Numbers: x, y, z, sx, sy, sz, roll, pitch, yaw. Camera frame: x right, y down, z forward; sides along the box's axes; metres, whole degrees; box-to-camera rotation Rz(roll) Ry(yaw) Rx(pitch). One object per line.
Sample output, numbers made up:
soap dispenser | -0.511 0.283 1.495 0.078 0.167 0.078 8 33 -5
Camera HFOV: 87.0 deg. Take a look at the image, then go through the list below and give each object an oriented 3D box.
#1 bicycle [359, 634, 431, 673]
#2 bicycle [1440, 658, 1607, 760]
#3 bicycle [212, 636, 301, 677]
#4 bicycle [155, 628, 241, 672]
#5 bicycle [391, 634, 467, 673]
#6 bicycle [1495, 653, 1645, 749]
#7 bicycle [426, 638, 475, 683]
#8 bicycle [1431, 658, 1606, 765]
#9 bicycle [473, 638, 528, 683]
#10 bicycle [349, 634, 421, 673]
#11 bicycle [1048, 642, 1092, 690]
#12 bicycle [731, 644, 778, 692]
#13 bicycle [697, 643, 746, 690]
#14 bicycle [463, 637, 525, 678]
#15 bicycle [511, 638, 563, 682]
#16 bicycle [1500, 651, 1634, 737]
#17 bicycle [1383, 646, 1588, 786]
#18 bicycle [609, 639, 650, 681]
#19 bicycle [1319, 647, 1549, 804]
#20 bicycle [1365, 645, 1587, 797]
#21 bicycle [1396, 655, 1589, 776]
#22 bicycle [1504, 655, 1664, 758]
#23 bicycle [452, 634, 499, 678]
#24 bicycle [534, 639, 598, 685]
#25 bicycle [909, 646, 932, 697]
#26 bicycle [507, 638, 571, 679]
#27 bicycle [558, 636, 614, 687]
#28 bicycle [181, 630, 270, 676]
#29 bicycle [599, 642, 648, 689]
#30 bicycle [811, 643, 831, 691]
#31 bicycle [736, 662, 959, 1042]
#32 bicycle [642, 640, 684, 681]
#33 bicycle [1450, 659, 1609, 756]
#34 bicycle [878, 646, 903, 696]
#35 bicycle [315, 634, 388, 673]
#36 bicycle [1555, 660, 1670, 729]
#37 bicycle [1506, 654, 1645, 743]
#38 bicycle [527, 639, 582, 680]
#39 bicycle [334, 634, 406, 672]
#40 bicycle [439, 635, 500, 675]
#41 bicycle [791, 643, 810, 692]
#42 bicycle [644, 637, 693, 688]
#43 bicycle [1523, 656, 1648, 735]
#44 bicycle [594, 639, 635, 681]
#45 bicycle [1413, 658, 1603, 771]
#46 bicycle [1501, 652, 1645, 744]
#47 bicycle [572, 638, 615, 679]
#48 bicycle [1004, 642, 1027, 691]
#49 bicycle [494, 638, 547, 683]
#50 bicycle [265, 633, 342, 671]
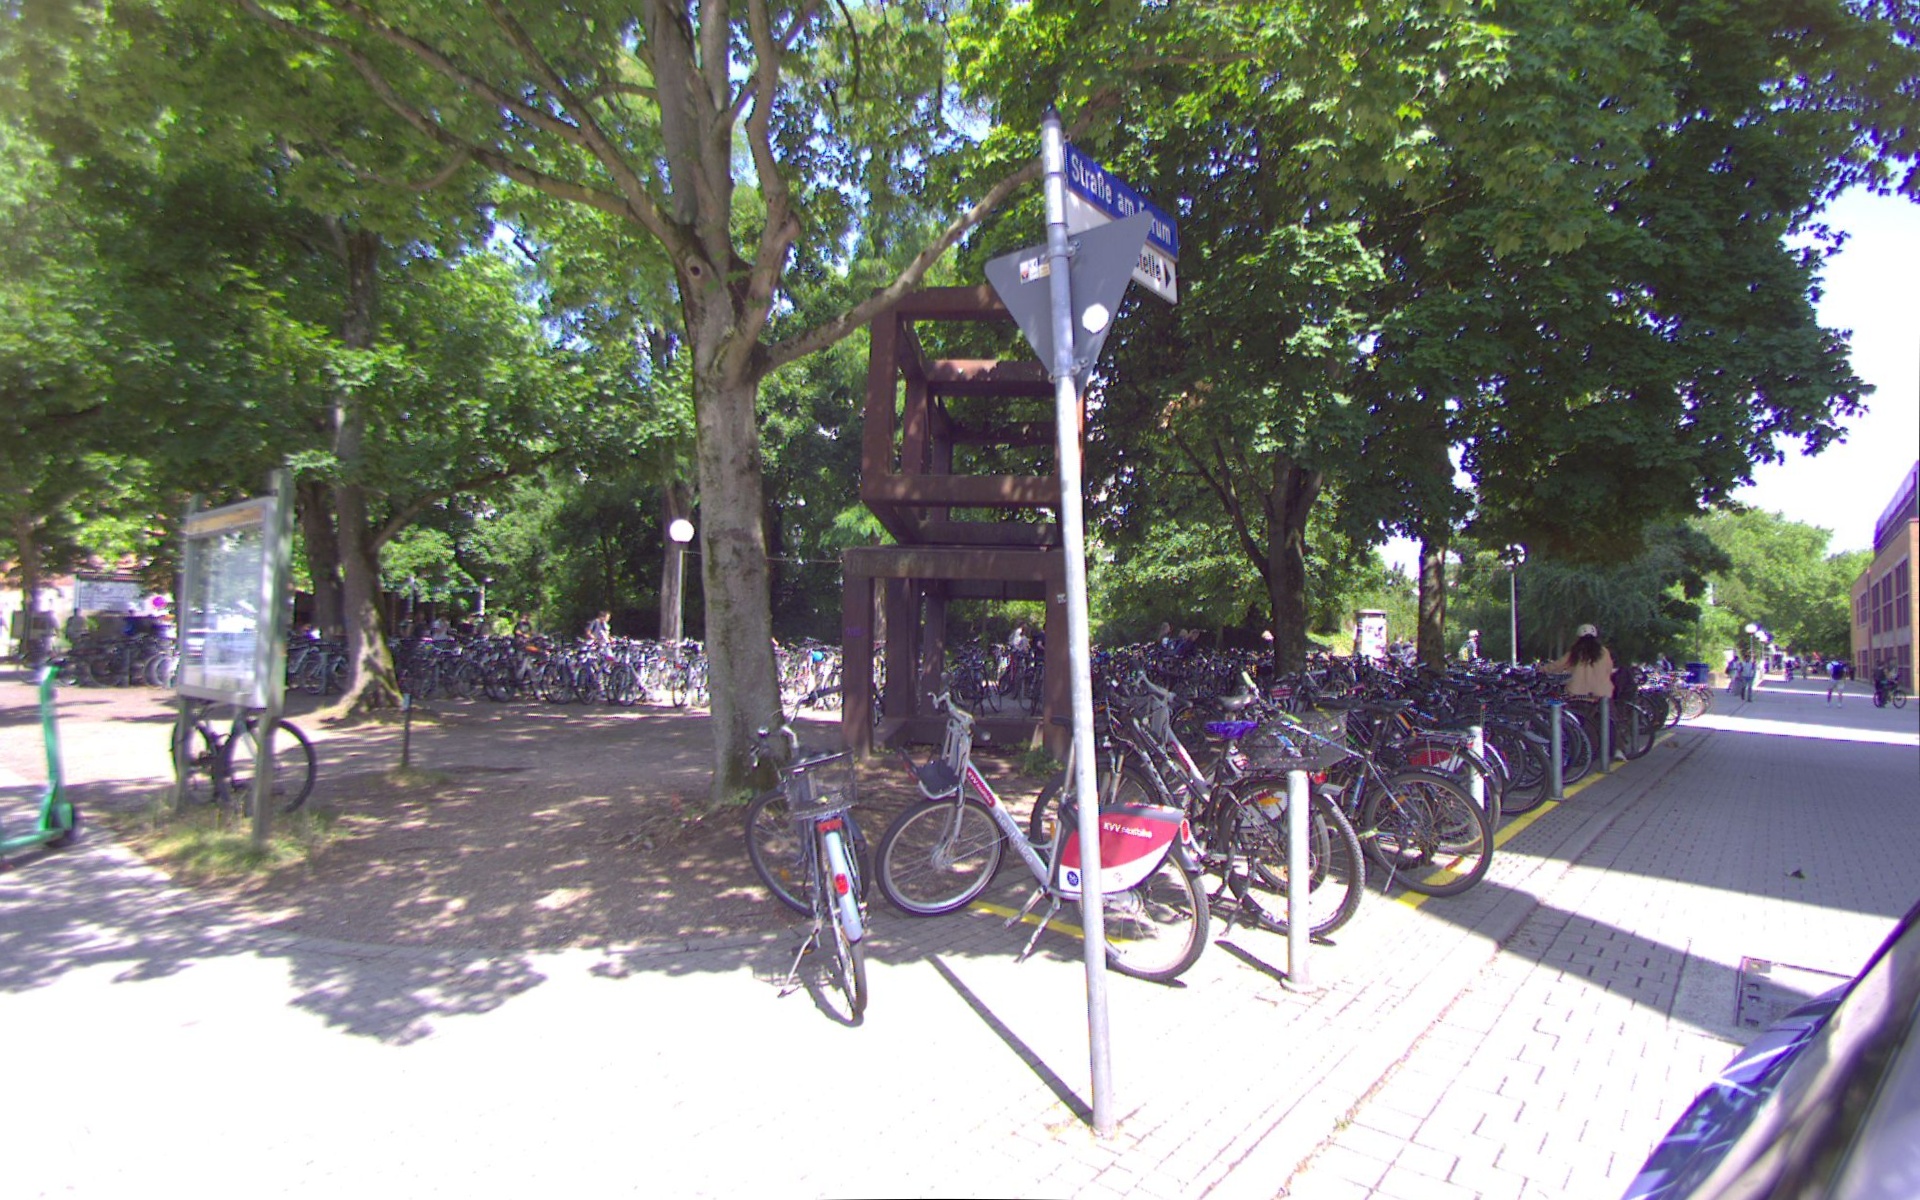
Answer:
bicycle | -15.051 1.401 27.019 0.472 0.991 1.893 -1 -2 16
bicycle | 6.707 1.276 12.075 1.677 1.061 0.609 1 -5 36
bicycle | -18.027 1.430 25.984 0.604 0.991 1.892 -1 -2 18
bicycle | -20.204 1.302 26.870 0.604 1.133 1.798 -1 -2 18
bicycle | -14.095 1.400 26.910 0.604 0.991 1.892 -1 -2 18
bicycle | 8.116 1.321 13.502 1.677 1.144 0.448 1 -5 36
bicycle | -12.077 1.419 24.039 0.469 0.991 1.906 0 -2 -9
bicycle | 6.319 1.232 11.478 1.677 1.061 0.609 1 -5 36
bicycle | -10.914 1.425 24.101 0.469 0.991 1.903 0 -2 -1
bicycle | -15.413 1.406 27.181 0.472 0.991 1.893 -1 -2 16
bicycle | 2.420 1.437 22.488 0.469 0.991 1.906 0 -2 -9
bicycle | -4.572 1.505 22.668 0.372 0.991 1.898 0 -2 9
bicycle | -5.321 1.465 22.664 0.372 0.991 1.898 0 -2 9
bicycle | -11.983 1.472 26.087 0.471 0.991 1.898 0 -2 9
bicycle | -10.000 1.400 23.992 0.469 0.991 1.904 0 -2 -2
bicycle | 9.020 1.379 15.063 1.677 1.144 0.448 1 -5 36
bicycle | 5.029 1.076 9.721 1.683 1.165 0.620 1 -4 32
bicycle | -8.299 1.484 25.468 0.371 0.991 1.903 0 -2 1
bicycle | 4.055 1.020 8.750 0.617 1.139 1.692 1 0 -44
bicycle | 4.642 1.040 9.169 1.690 1.165 0.618 1 0 42
bicycle | 5.389 1.138 10.269 1.684 1.061 0.561 1 -4 33
bicycle | 7.797 1.306 12.683 1.677 1.144 0.448 1 -5 36
bicycle | -11.517 1.303 24.116 0.469 0.991 1.906 0 -2 -9
bicycle | -9.121 1.424 23.473 0.471 0.991 1.898 0 -2 9
bicycle | -0.868 1.549 22.316 0.469 1.036 1.743 0 -2 -1
bicycle | -10.900 1.505 26.248 0.436 0.991 1.893 0 -2 16
bicycle | -8.556 1.387 23.239 0.470 1.096 1.901 0 -2 4
bicycle | -19.144 1.365 26.426 0.604 1.133 1.892 -1 -2 18
bicycle | -7.692 1.478 23.185 0.469 0.991 1.903 0 -2 1
bicycle | -3.085 1.456 22.361 0.371 0.991 1.906 0 -2 -10
bicycle | -0.560 0.877 4.251 0.593 1.156 1.789 0 -1 -17
bicycle | -7.557 1.527 25.832 0.469 0.991 1.903 0 -2 1
bicycle | 7.038 1.304 12.544 1.677 1.061 0.494 1 -5 36
bicycle | -1.528 1.548 22.501 0.469 1.036 1.743 0 -2 -1
bicycle | -16.496 1.435 27.498 0.416 0.991 1.892 -1 -2 18
bicycle | 11.533 1.649 17.912 1.678 1.098 0.472 1 -5 36
bicycle | 8.832 1.389 14.540 1.677 1.144 0.448 1 -5 36
bicycle | -10.459 1.520 26.145 0.301 0.991 1.877 0 -2 12
bicycle | -16.013 1.416 27.512 0.416 0.991 1.892 -1 -2 18
bicycle | -13.046 1.448 26.975 0.527 0.991 1.900 0 -2 6
bicycle | -3.519 1.459 22.283 0.371 0.991 1.906 0 -2 -10
bicycle | -6.633 1.409 23.104 0.470 1.096 1.901 0 -2 4
bicycle | 10.053 1.524 16.290 1.677 1.144 0.448 1 -5 36
bicycle | -8.705 1.499 25.547 0.371 0.991 1.903 0 -2 1
bicycle | 5.874 1.201 10.916 0.607 1.061 1.693 6 -5 -41
bicycle | 8.483 1.338 14.029 1.677 1.144 0.448 1 -5 36
bicycle | -9.436 1.488 26.114 0.371 0.991 1.903 0 -2 1
bicycle | 1.216 1.449 22.363 0.470 0.991 1.902 0 -2 2
bicycle | -10.394 1.406 23.988 0.469 0.991 1.904 0 -2 -2
bicycle | -18.318 1.438 28.287 0.473 0.991 1.890 -1 -2 20
